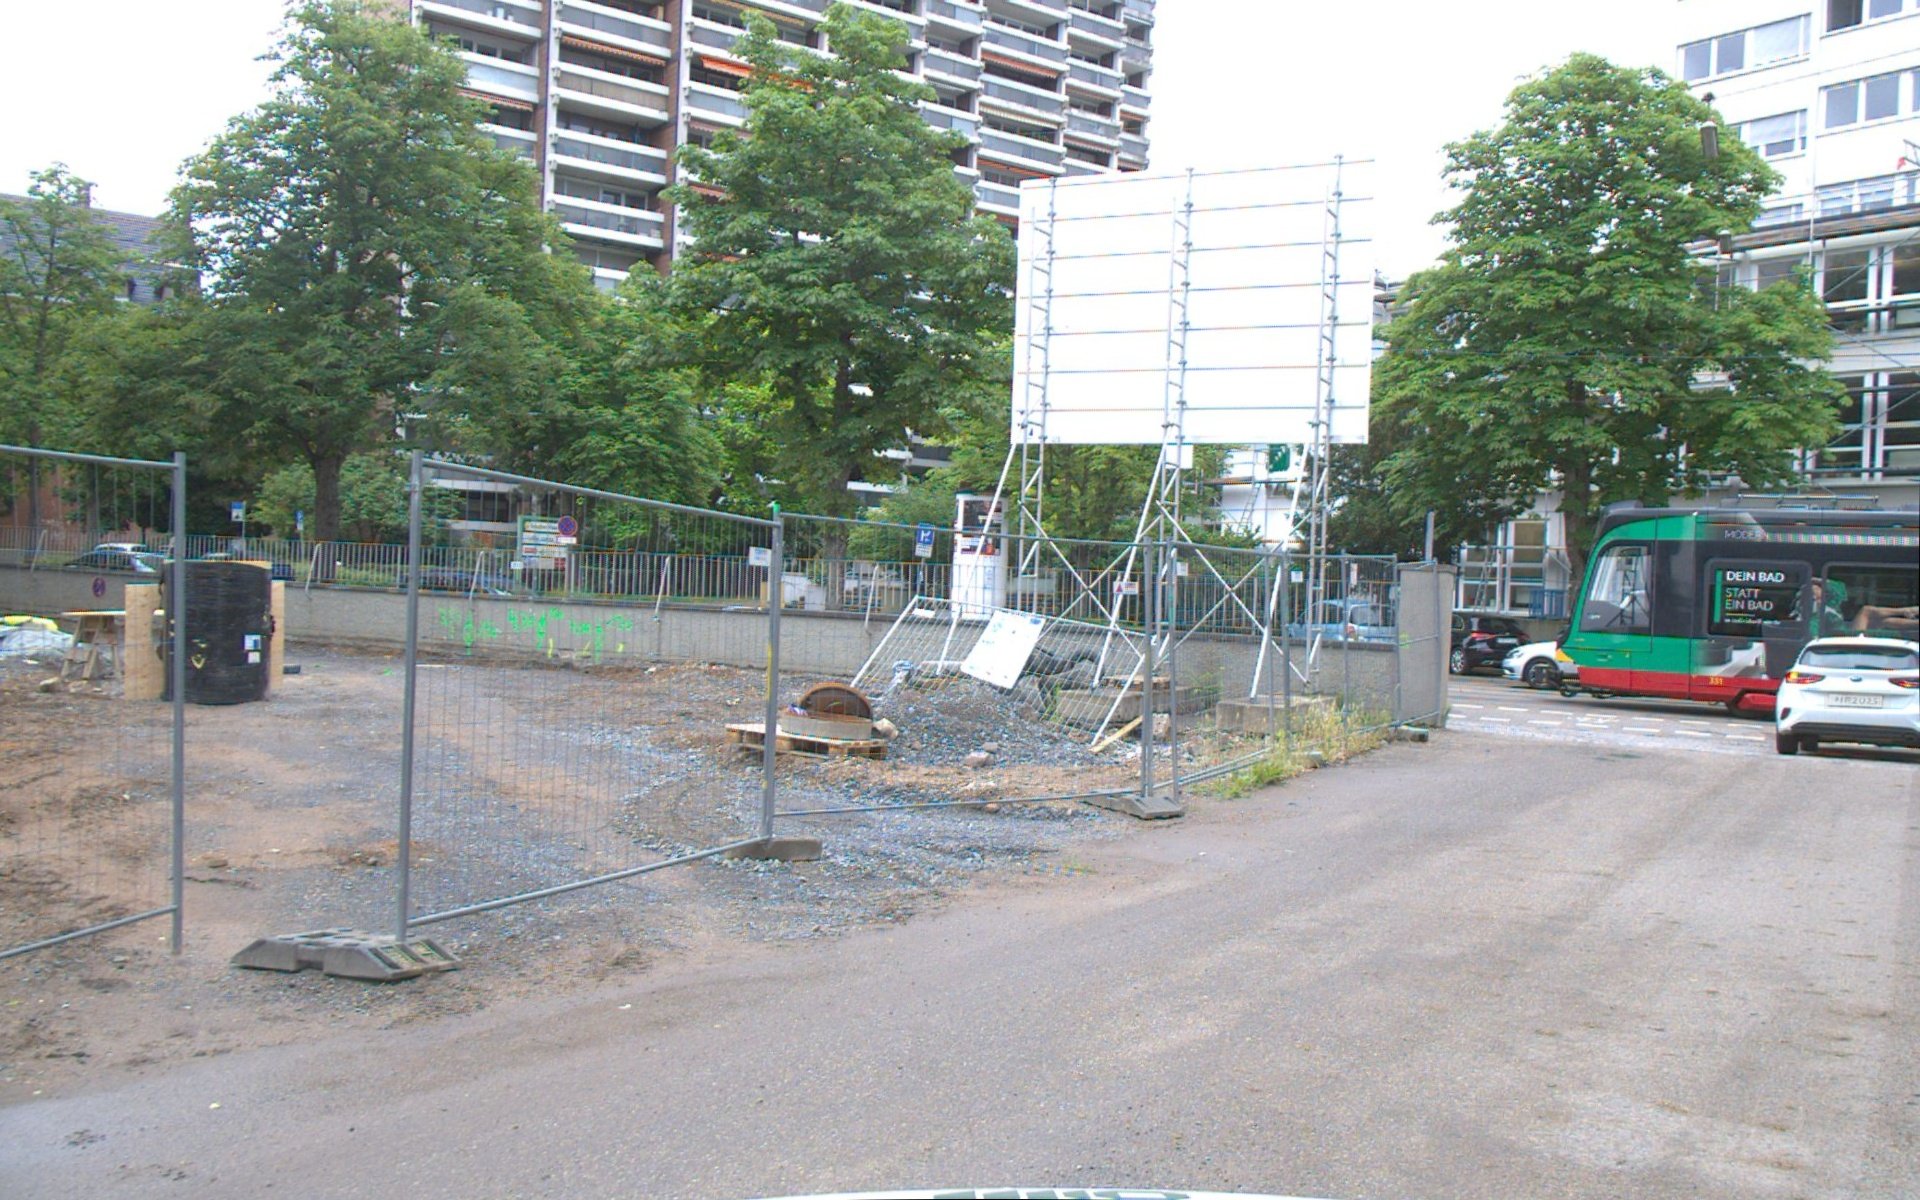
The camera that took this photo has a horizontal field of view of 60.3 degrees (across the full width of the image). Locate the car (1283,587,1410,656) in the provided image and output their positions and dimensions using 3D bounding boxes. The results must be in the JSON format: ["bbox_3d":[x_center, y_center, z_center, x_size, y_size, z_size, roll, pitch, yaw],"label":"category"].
[{"bbox_3d":[9.421,0.505,40.574,1.587,1.564,3.322,2,0,-16],"label":"car"}]

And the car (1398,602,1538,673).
[{"bbox_3d":[11.969,0.866,39.126,1.587,1.537,3.322,2,0,-16],"label":"car"}]

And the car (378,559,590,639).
[{"bbox_3d":[-9.628,-0.035,33.422,3.911,1.443,1.831,2,0,28],"label":"car"}]

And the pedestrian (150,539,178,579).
[{"bbox_3d":[-31.857,-1.644,66.203,0.510,1.554,0.845,2,0,16],"label":"pedestrian"}]

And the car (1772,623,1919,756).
[{"bbox_3d":[11.448,1.136,20.794,1.744,1.458,3.967,2,-2,33],"label":"car"}]

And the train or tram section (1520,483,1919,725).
[{"bbox_3d":[15.473,0.080,26.173,12.181,3.677,2.664,2,0,28],"label":"train or tram section"}]

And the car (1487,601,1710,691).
[{"bbox_3d":[12.654,0.876,32.818,3.912,1.545,1.728,2,0,29],"label":"car"}]

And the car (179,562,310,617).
[{"bbox_3d":[-21.962,-0.315,50.756,3.911,1.545,1.600,2,0,28],"label":"car"}]
